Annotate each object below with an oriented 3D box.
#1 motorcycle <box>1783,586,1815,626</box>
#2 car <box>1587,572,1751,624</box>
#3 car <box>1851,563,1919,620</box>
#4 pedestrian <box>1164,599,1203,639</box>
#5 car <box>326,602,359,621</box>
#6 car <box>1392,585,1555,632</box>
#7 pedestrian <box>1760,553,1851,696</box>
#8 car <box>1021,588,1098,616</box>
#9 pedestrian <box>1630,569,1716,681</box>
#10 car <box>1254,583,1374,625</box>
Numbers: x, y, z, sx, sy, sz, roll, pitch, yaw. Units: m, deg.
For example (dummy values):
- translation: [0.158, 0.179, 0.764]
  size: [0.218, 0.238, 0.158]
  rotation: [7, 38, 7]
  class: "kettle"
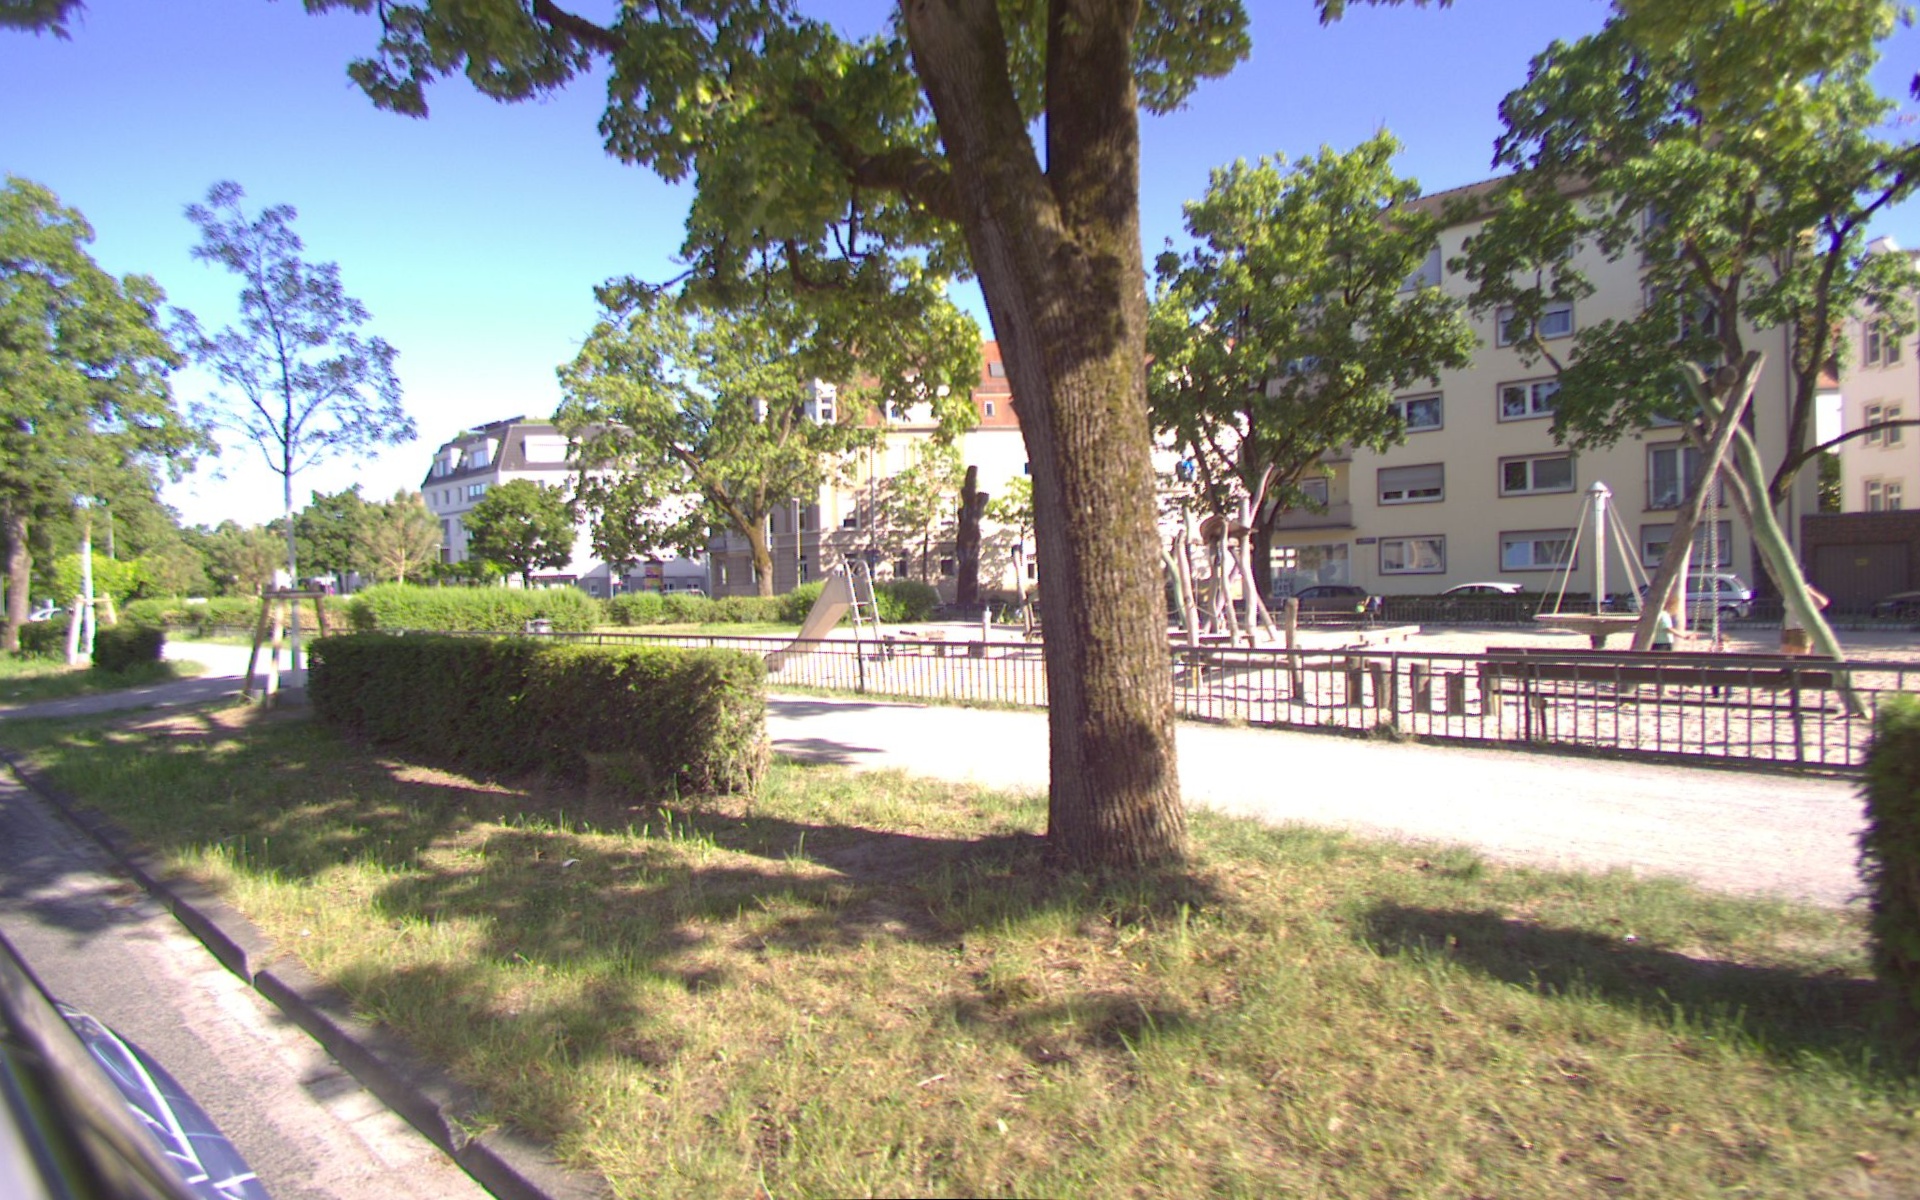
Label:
- translation: [24.428, 0.165, 29.496]
  size: [0.499, 1.116, 1.780]
  rotation: [-1, 1, 33]
  class: "motorcycle"
- translation: [22.012, -0.049, 31.514]
  size: [3.999, 1.521, 1.775]
  rotation: [-1, 1, 42]
  class: "car"
- translation: [26.848, -0.252, 27.436]
  size: [3.999, 1.521, 1.775]
  rotation: [-1, 1, 42]
  class: "car"
- translation: [5.659, 0.473, 25.678]
  size: [0.535, 0.986, 0.779]
  rotation: [-2, 0, -41]
  class: "pedestrian"
- translation: [-66.678, 1.217, 109.224]
  size: [4.406, 2.044, 1.915]
  rotation: [-1, 0, 43]
  class: "car"
- translation: [17.838, 0.298, 35.315]
  size: [4.761, 1.521, 1.887]
  rotation: [-1, 1, 40]
  class: "car"
- translation: [10.313, 0.280, 12.345]
  size: [0.639, 1.674, 0.652]
  rotation: [-2, 0, -31]
  class: "pedestrian"
- translation: [5.651, 0.107, 57.632]
  size: [3.933, 1.521, 1.805]
  rotation: [-1, 0, -14]
  class: "car"
- translation: [8.899, 0.299, 12.634]
  size: [0.639, 1.339, 0.652]
  rotation: [-2, 0, -31]
  class: "pedestrian"
- translation: [13.608, 0.172, 39.047]
  size: [3.999, 1.521, 1.775]
  rotation: [-1, 1, 42]
  class: "car"
